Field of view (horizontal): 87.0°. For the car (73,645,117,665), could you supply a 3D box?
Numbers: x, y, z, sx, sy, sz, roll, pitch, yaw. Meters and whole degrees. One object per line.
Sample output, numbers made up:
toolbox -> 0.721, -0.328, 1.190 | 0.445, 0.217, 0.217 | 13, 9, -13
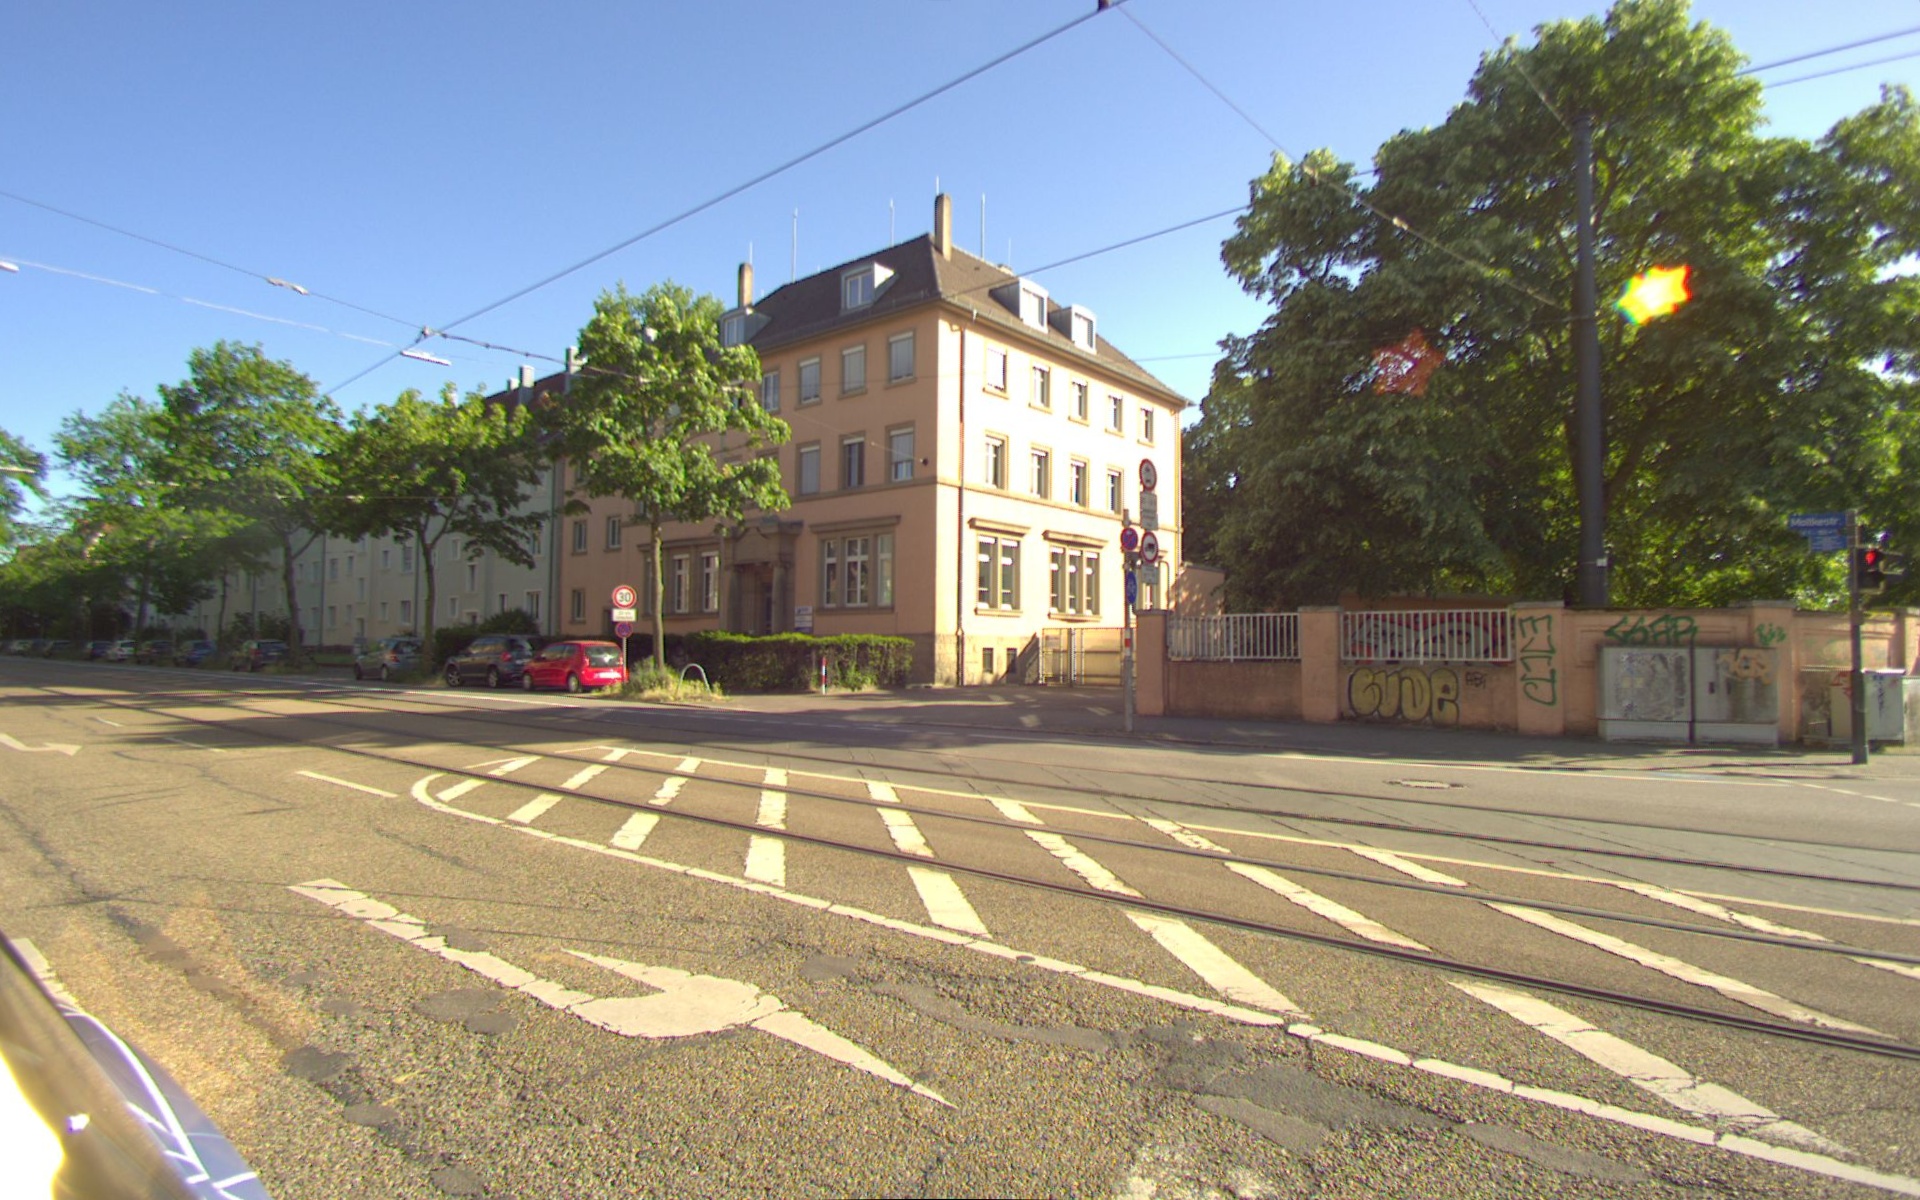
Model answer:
car -> -63.467, 4.011, 74.233 | 3.626, 1.430, 1.793 | -2, -4, 39

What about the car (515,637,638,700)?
car -> -11.183, 1.956, 29.455 | 3.369, 1.719, 1.794 | -2, -4, 37

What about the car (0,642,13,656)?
car -> -102.843, 5.210, 108.152 | 3.626, 1.535, 1.793 | -2, -4, 39

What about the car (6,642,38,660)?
car -> -93.627, 5.074, 101.043 | 3.626, 1.792, 1.793 | -2, -4, 39

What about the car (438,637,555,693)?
car -> -14.812, 2.051, 32.292 | 3.813, 1.671, 1.794 | -2, -4, 37

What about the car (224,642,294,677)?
car -> -33.723, 2.846, 48.682 | 3.626, 1.611, 1.793 | -2, -4, 39

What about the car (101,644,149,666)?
car -> -56.578, 3.738, 68.572 | 3.626, 1.430, 1.793 | -2, -4, 39

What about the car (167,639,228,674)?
car -> -42.630, 3.148, 56.550 | 3.791, 1.839, 1.793 | -2, -4, 39

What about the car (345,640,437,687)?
car -> -21.439, 2.372, 38.081 | 3.874, 1.671, 1.792 | -2, -4, 41

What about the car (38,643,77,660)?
car -> -76.084, 4.358, 85.304 | 3.626, 1.430, 1.793 | -2, -4, 39

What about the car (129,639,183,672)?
car -> -49.561, 3.396, 62.396 | 3.626, 1.956, 1.793 | -2, -4, 39
